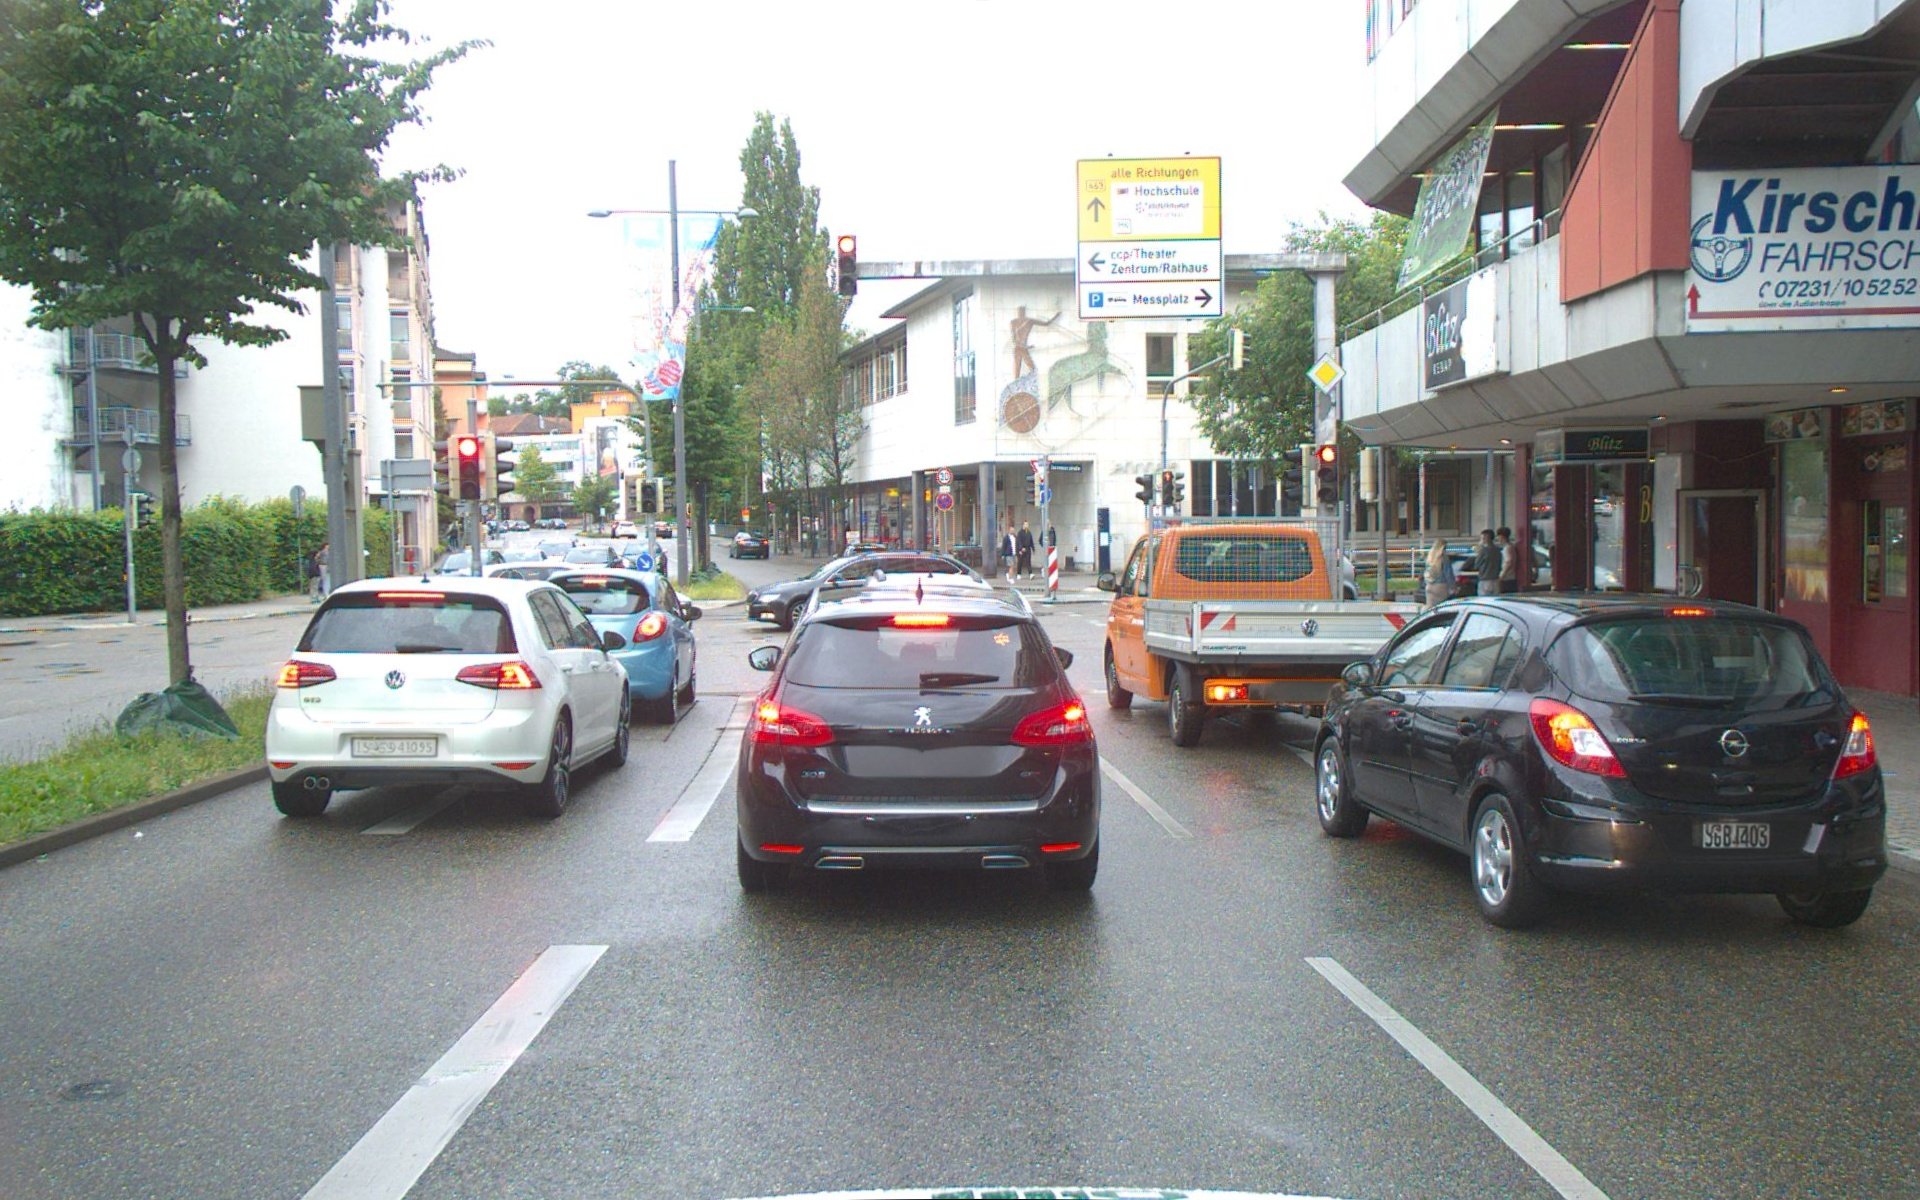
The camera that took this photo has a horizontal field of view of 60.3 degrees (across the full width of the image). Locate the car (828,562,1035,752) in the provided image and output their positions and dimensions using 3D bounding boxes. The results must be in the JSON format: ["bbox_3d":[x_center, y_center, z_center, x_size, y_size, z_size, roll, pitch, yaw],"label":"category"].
[{"bbox_3d":[-0.264,0.421,15.326,1.662,1.512,3.793,1,2,-1],"label":"car"}]

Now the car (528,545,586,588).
[{"bbox_3d":[-14.814,-1.242,60.932,1.602,1.512,3.605,1,2,-7],"label":"car"}]

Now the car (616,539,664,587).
[{"bbox_3d":[-12.185,-1.395,63.092,1.713,1.669,3.989,1,-1,-11],"label":"car"}]

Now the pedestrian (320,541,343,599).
[{"bbox_3d":[-19.498,-0.927,51.321,0.528,1.778,0.564,1,-1,-6],"label":"pedestrian"}]

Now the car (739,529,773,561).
[{"bbox_3d":[-11.454,-3.055,92.651,1.693,1.516,4.721,1,-1,-10],"label":"car"}]

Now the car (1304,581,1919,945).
[{"bbox_3d":[3.113,0.647,8.687,1.584,1.454,3.839,1,1,-4],"label":"car"}]

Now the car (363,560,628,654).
[{"bbox_3d":[-7.851,0.106,28.202,4.221,1.512,1.632,0,1,-15],"label":"car"}]

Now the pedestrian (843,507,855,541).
[{"bbox_3d":[-5.940,-4.058,88.591,0.461,1.778,0.537,1,-1,-21],"label":"pedestrian"}]

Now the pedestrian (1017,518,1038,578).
[{"bbox_3d":[2.204,-1.699,53.965,0.623,1.930,0.734,1,-1,6],"label":"pedestrian"}]

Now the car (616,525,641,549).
[{"bbox_3d":[-29.197,-5.545,145.605,1.679,1.915,3.980,1,-1,-18],"label":"car"}]

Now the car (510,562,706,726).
[{"bbox_3d":[-3.586,0.377,17.383,1.601,1.512,3.606,1,2,-6],"label":"car"}]

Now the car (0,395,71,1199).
[{"bbox_3d":[-3.034,0.448,1.446,1.873,1.903,5.071,1,-1,-2],"label":"car"}]

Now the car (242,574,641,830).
[{"bbox_3d":[-3.342,0.561,11.413,1.742,1.454,3.839,1,1,-4],"label":"car"}]

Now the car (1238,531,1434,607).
[{"bbox_3d":[8.103,-0.639,35.758,3.828,1.512,1.618,1,-1,-13],"label":"car"}]

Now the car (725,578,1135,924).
[{"bbox_3d":[-0.217,0.627,9.011,1.742,1.454,3.840,1,1,-3],"label":"car"}]

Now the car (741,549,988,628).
[{"bbox_3d":[-1.896,-0.232,32.801,4.647,1.512,1.631,0,1,-17],"label":"car"}]

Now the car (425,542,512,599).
[{"bbox_3d":[-13.645,-0.837,46.043,1.543,1.512,3.607,1,2,-4],"label":"car"}]

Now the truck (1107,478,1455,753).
[{"bbox_3d":[2.828,0.063,15.912,2.133,2.210,5.018,1,2,-3],"label":"truck"}]

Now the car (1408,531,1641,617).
[{"bbox_3d":[11.343,-0.531,33.314,4.152,1.592,1.700,-1,1,-12],"label":"car"}]

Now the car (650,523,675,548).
[{"bbox_3d":[-26.418,-5.717,146.910,1.679,1.970,3.980,1,-1,-18],"label":"car"}]

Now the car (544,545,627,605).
[{"bbox_3d":[-10.782,-0.687,47.796,1.710,1.607,3.996,1,-1,-4],"label":"car"}]

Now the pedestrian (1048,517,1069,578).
[{"bbox_3d":[3.212,-1.706,53.812,0.623,1.930,0.734,1,-1,6],"label":"pedestrian"}]

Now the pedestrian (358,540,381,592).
[{"bbox_3d":[-20.271,-1.150,56.769,0.584,1.758,0.655,1,-1,-9],"label":"pedestrian"}]

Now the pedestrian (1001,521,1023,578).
[{"bbox_3d":[1.645,-1.597,52.450,0.623,1.788,0.734,1,-1,6],"label":"pedestrian"}]

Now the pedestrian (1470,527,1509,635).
[{"bbox_3d":[8.448,-0.299,26.401,0.417,1.712,0.450,-1,-1,-2],"label":"pedestrian"}]

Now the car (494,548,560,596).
[{"bbox_3d":[-14.236,-0.937,54.547,1.602,1.512,3.605,1,2,-7],"label":"car"}]

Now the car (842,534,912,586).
[{"bbox_3d":[-2.662,-1.329,53.714,1.750,1.479,4.510,-2,3,3],"label":"car"}]

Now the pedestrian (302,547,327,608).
[{"bbox_3d":[-19.325,-0.669,49.505,0.529,1.778,0.746,1,-1,-9],"label":"pedestrian"}]

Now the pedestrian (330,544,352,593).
[{"bbox_3d":[-20.988,-1.073,56.060,0.569,1.627,0.526,1,-1,-7],"label":"pedestrian"}]

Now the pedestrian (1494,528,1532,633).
[{"bbox_3d":[8.951,-0.310,26.787,0.388,1.668,0.504,-1,-1,0],"label":"pedestrian"}]
